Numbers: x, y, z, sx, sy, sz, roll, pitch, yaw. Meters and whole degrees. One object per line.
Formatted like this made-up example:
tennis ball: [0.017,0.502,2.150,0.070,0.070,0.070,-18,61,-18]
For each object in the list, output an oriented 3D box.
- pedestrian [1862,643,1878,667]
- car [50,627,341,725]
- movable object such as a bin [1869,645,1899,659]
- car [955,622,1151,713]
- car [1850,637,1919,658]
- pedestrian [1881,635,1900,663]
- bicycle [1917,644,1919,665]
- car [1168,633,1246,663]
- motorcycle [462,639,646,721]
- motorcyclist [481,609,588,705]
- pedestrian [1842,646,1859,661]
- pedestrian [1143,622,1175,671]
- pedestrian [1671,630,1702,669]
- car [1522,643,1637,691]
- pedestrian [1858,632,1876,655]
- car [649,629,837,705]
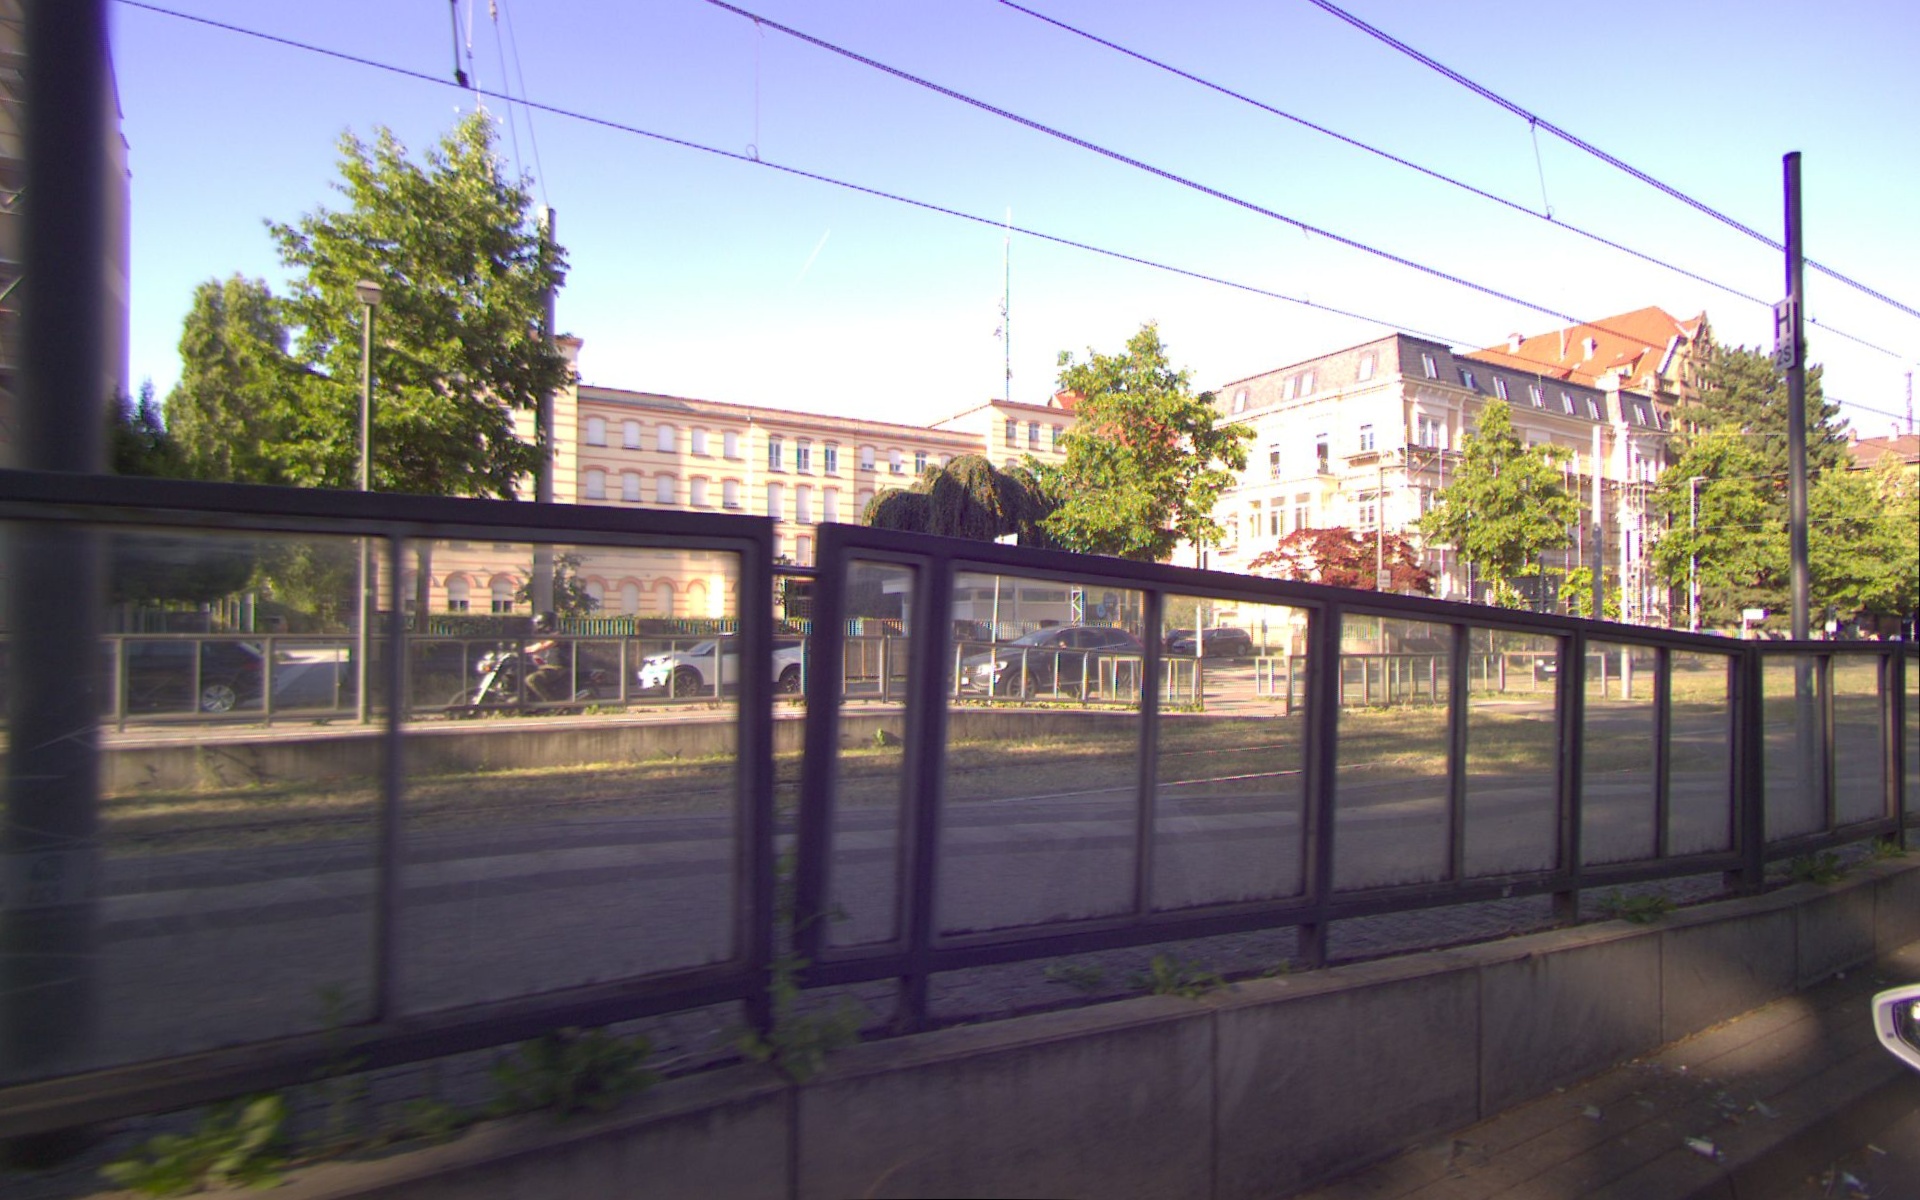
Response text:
pedestrian: [62.068,3.765,68.525,0.789,1.614,0.614,1,0,-32]
car: [-13.973,1.356,18.678,4.012,1.607,1.715,2,0,-27]
movable object such as a bin: [63.297,3.570,68.805,1.223,0.876,1.238,2,-1,-32]
car: [2.073,1.449,22.330,3.978,1.830,1.856,2,0,-29]
car: [70.421,3.581,76.202,1.961,1.491,4.192,1,-1,-2]
pedestrian: [60.370,3.156,65.142,0.878,1.798,0.646,2,-3,-32]
bicycle: [56.520,3.189,58.453,1.735,1.209,0.771,2,0,-31]
car: [12.434,2.399,50.486,3.807,1.426,1.598,2,0,-31]
motorcycle: [-5.951,1.136,14.802,2.378,1.087,0.812,2,0,-36]
motorcyclist: [-6.191,0.811,14.619,1.264,1.317,0.812,2,0,-35]
pedestrian: [55.746,3.359,62.892,0.579,0.944,0.646,2,-3,-35]
pedestrian: [6.787,1.589,34.256,0.805,1.669,0.719,2,-3,-37]
pedestrian: [36.559,2.497,50.560,1.074,1.953,0.854,2,-3,-32]
car: [20.189,2.140,32.719,3.807,1.426,1.598,2,0,-31]
pedestrian: [60.079,2.893,66.520,0.774,1.559,0.646,2,-3,-32]
car: [-5.086,1.543,23.641,4.012,1.607,1.715,2,0,-27]
